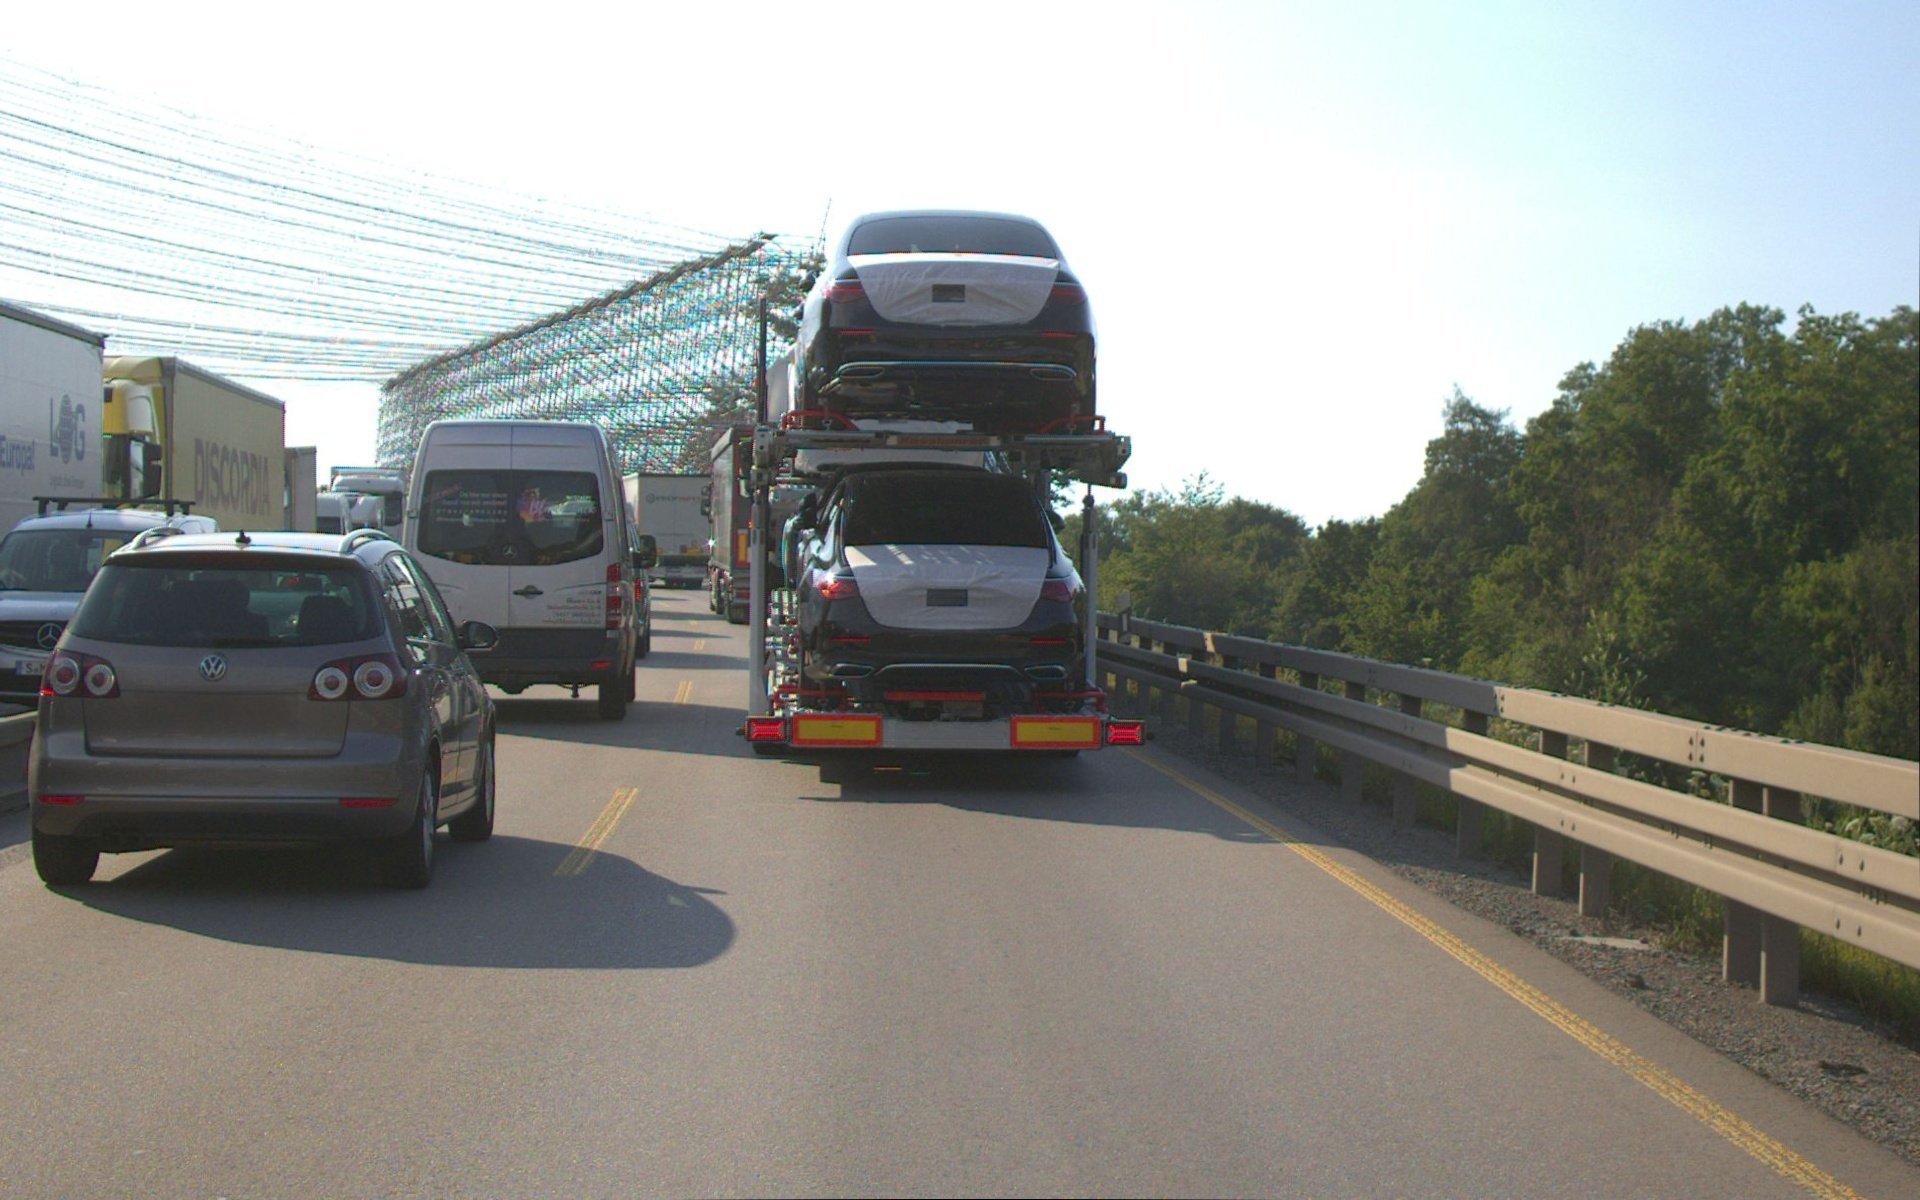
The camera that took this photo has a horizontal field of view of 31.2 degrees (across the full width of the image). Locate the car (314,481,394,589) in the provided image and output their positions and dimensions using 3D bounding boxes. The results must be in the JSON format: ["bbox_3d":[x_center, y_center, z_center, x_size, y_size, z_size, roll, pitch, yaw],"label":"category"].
[{"bbox_3d":[-15.965,-1.716,90.757,1.668,2.756,4.960,0,1,-5],"label":"car"}]

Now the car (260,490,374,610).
[{"bbox_3d":[-15.395,-1.150,82.560,2.128,2.741,5.505,0,0,-5],"label":"car"}]

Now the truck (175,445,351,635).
[{"bbox_3d":[-13.616,-1.086,67.654,2.358,3.519,7.698,0,0,-4],"label":"truck"}]

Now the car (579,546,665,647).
[{"bbox_3d":[-6.826,-0.058,69.575,1.668,1.978,3.818,0,0,-5],"label":"car"}]

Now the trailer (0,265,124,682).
[{"bbox_3d":[-11.026,-1.294,35.239,2.453,4.251,12.146,0,0,-2],"label":"trailer"}]

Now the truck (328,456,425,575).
[{"bbox_3d":[-20.477,-2.955,120.996,2.641,3.981,9.031,0,1,-5],"label":"truck"}]

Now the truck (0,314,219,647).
[{"bbox_3d":[-11.971,-1.510,46.799,2.893,4.257,5.772,0,0,-4],"label":"truck"}]

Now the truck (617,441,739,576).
[{"bbox_3d":[-10.385,-3.286,125.341,3.647,4.661,11.698,0,1,-9],"label":"truck"}]

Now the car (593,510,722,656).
[{"bbox_3d":[-4.211,-0.218,48.348,1.668,1.978,3.818,0,0,-3],"label":"car"}]

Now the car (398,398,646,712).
[{"bbox_3d":[-3.921,-0.367,31.387,1.979,2.675,4.147,0,0,-4],"label":"car"}]

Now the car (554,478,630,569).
[{"bbox_3d":[-8.480,-1.739,79.380,1.668,1.978,3.818,0,0,-5],"label":"car"}]

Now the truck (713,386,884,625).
[{"bbox_3d":[-3.595,-1.974,73.601,3.227,4.661,11.697,0,1,-5],"label":"truck"}]

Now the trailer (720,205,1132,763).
[{"bbox_3d":[-0.765,-0.773,32.243,2.874,3.980,15.281,0,0,-4],"label":"trailer"}]

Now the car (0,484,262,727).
[{"bbox_3d":[-7.297,-0.004,29.615,1.833,1.910,4.865,0,1,-3],"label":"car"}]

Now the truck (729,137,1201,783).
[{"bbox_3d":[-0.151,-0.837,24.078,2.869,3.966,5.772,0,0,-4],"label":"truck"}]

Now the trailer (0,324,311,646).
[{"bbox_3d":[-12.504,-1.517,54.089,2.893,4.379,14.381,0,0,-4],"label":"trailer"}]

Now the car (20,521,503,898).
[{"bbox_3d":[-3.212,0.473,16.541,1.700,1.581,4.147,0,0,-3],"label":"car"}]
